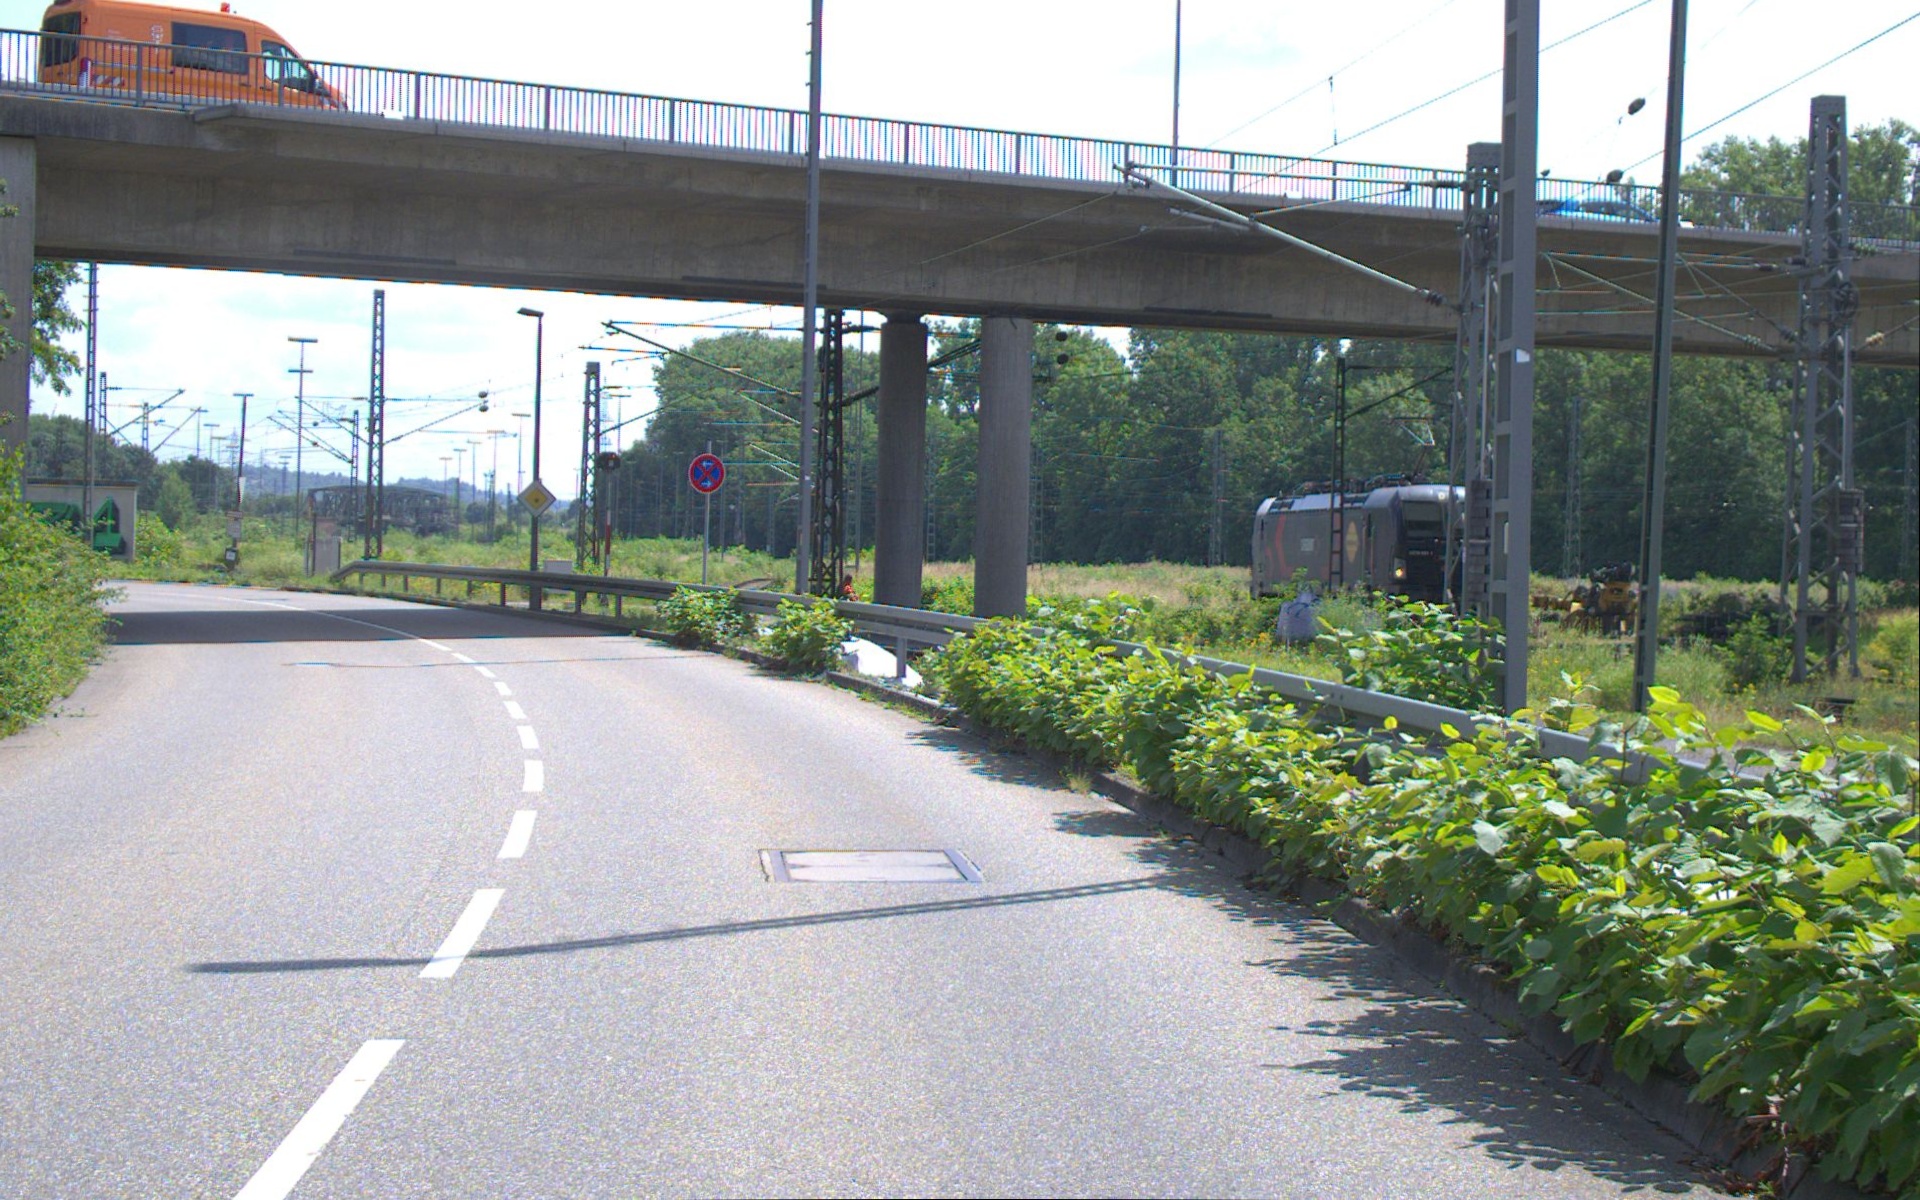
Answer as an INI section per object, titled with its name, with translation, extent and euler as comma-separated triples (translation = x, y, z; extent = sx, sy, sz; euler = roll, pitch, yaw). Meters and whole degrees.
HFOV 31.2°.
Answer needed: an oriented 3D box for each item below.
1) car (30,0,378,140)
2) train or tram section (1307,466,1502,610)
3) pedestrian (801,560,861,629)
[car]
translation = -12.631, -9.001, 57.607
extent = 5.320, 2.007, 2.000
euler = -1, 0, -36
[train or tram section]
translation = 11.428, -1.554, 89.294
extent = 2.890, 3.497, 8.567
euler = 1, 0, -7
[pedestrian]
translation = -2.905, -0.130, 77.525
extent = 1.110, 1.534, 1.580
euler = 1, 0, -10
